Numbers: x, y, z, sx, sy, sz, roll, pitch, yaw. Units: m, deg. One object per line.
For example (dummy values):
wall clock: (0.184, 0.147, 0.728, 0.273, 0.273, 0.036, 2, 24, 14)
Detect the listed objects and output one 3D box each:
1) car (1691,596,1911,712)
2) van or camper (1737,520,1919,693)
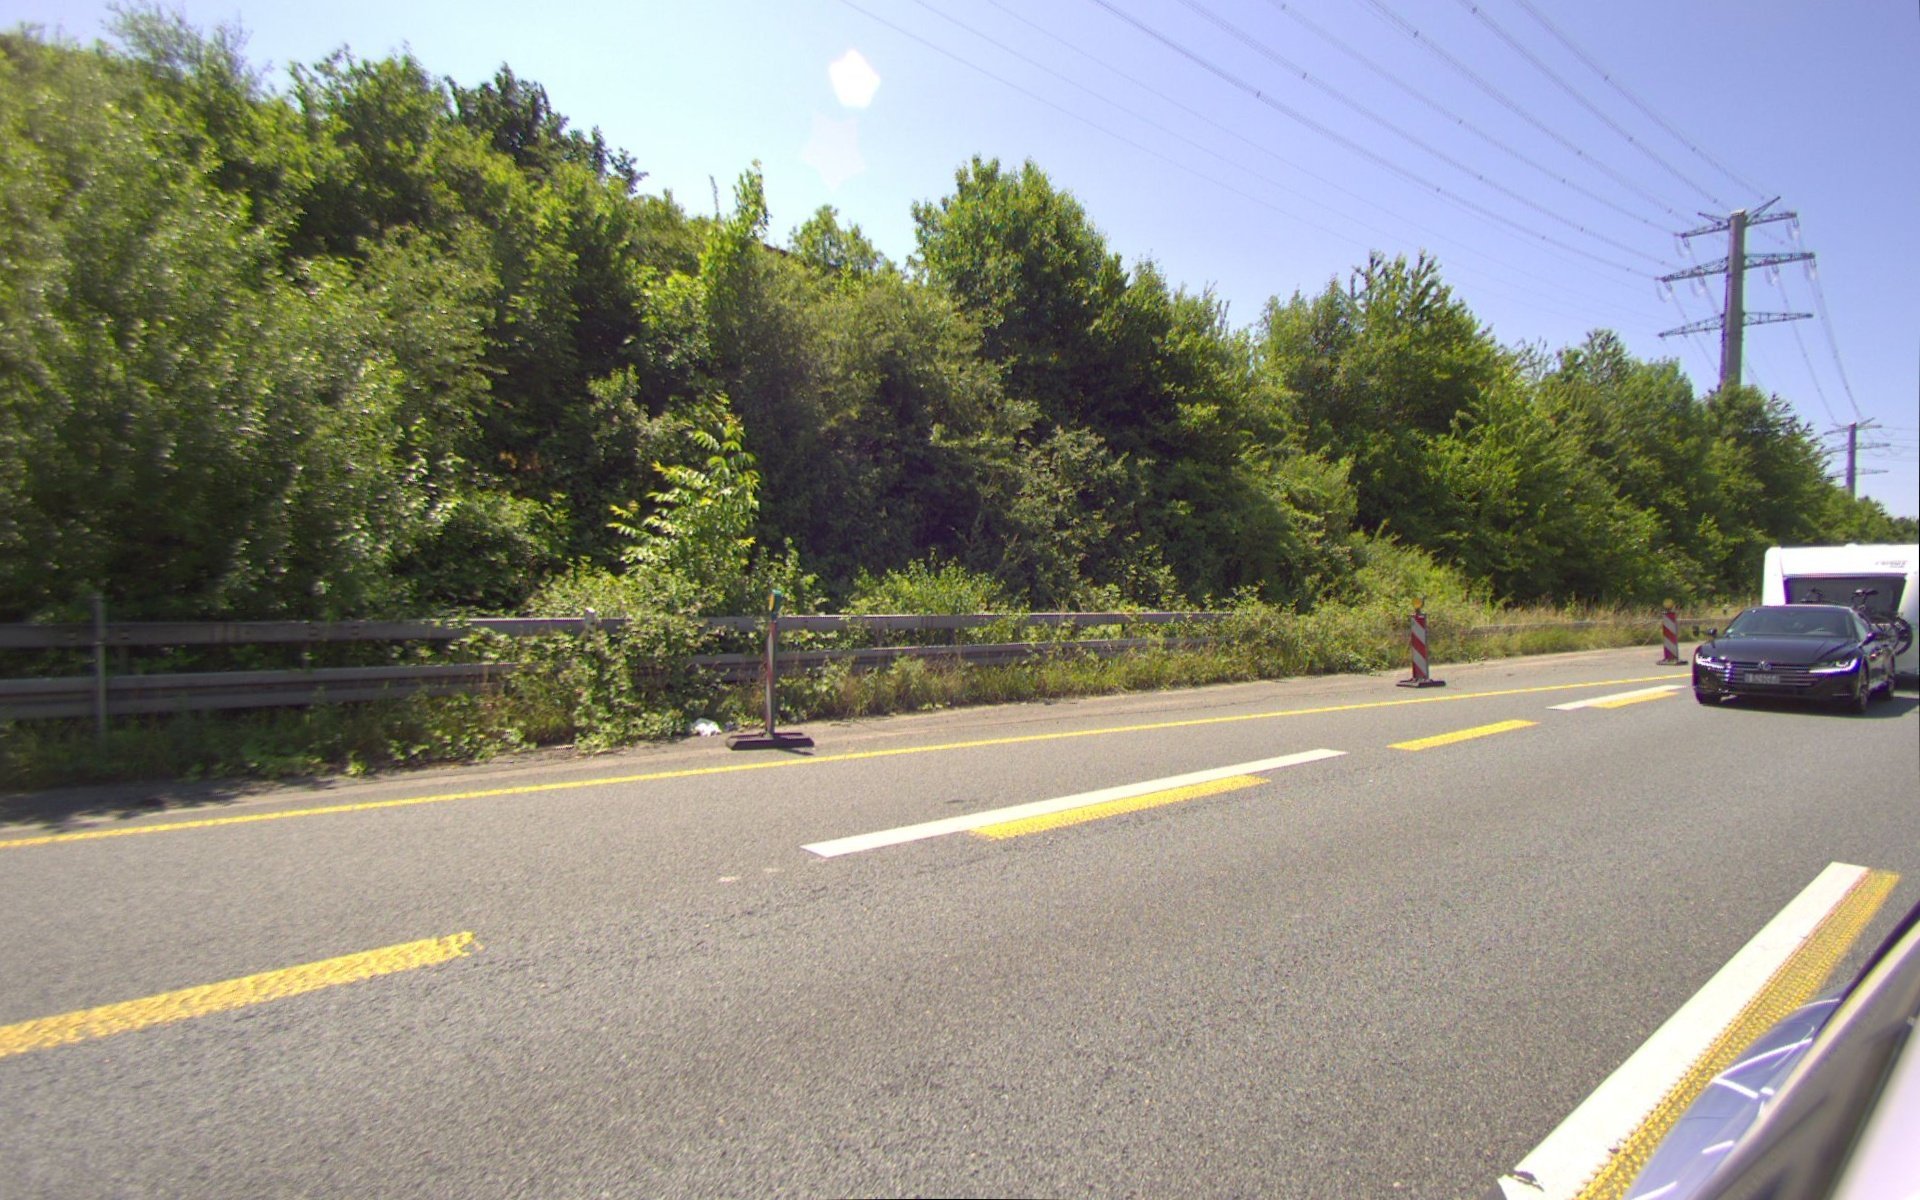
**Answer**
car: (12.220, 0.668, 14.620, 4.136, 1.425, 1.799, 0, 0, -41)
van or camper: (16.910, 0.088, 18.727, 8.270, 2.597, 2.430, 0, 0, -41)
